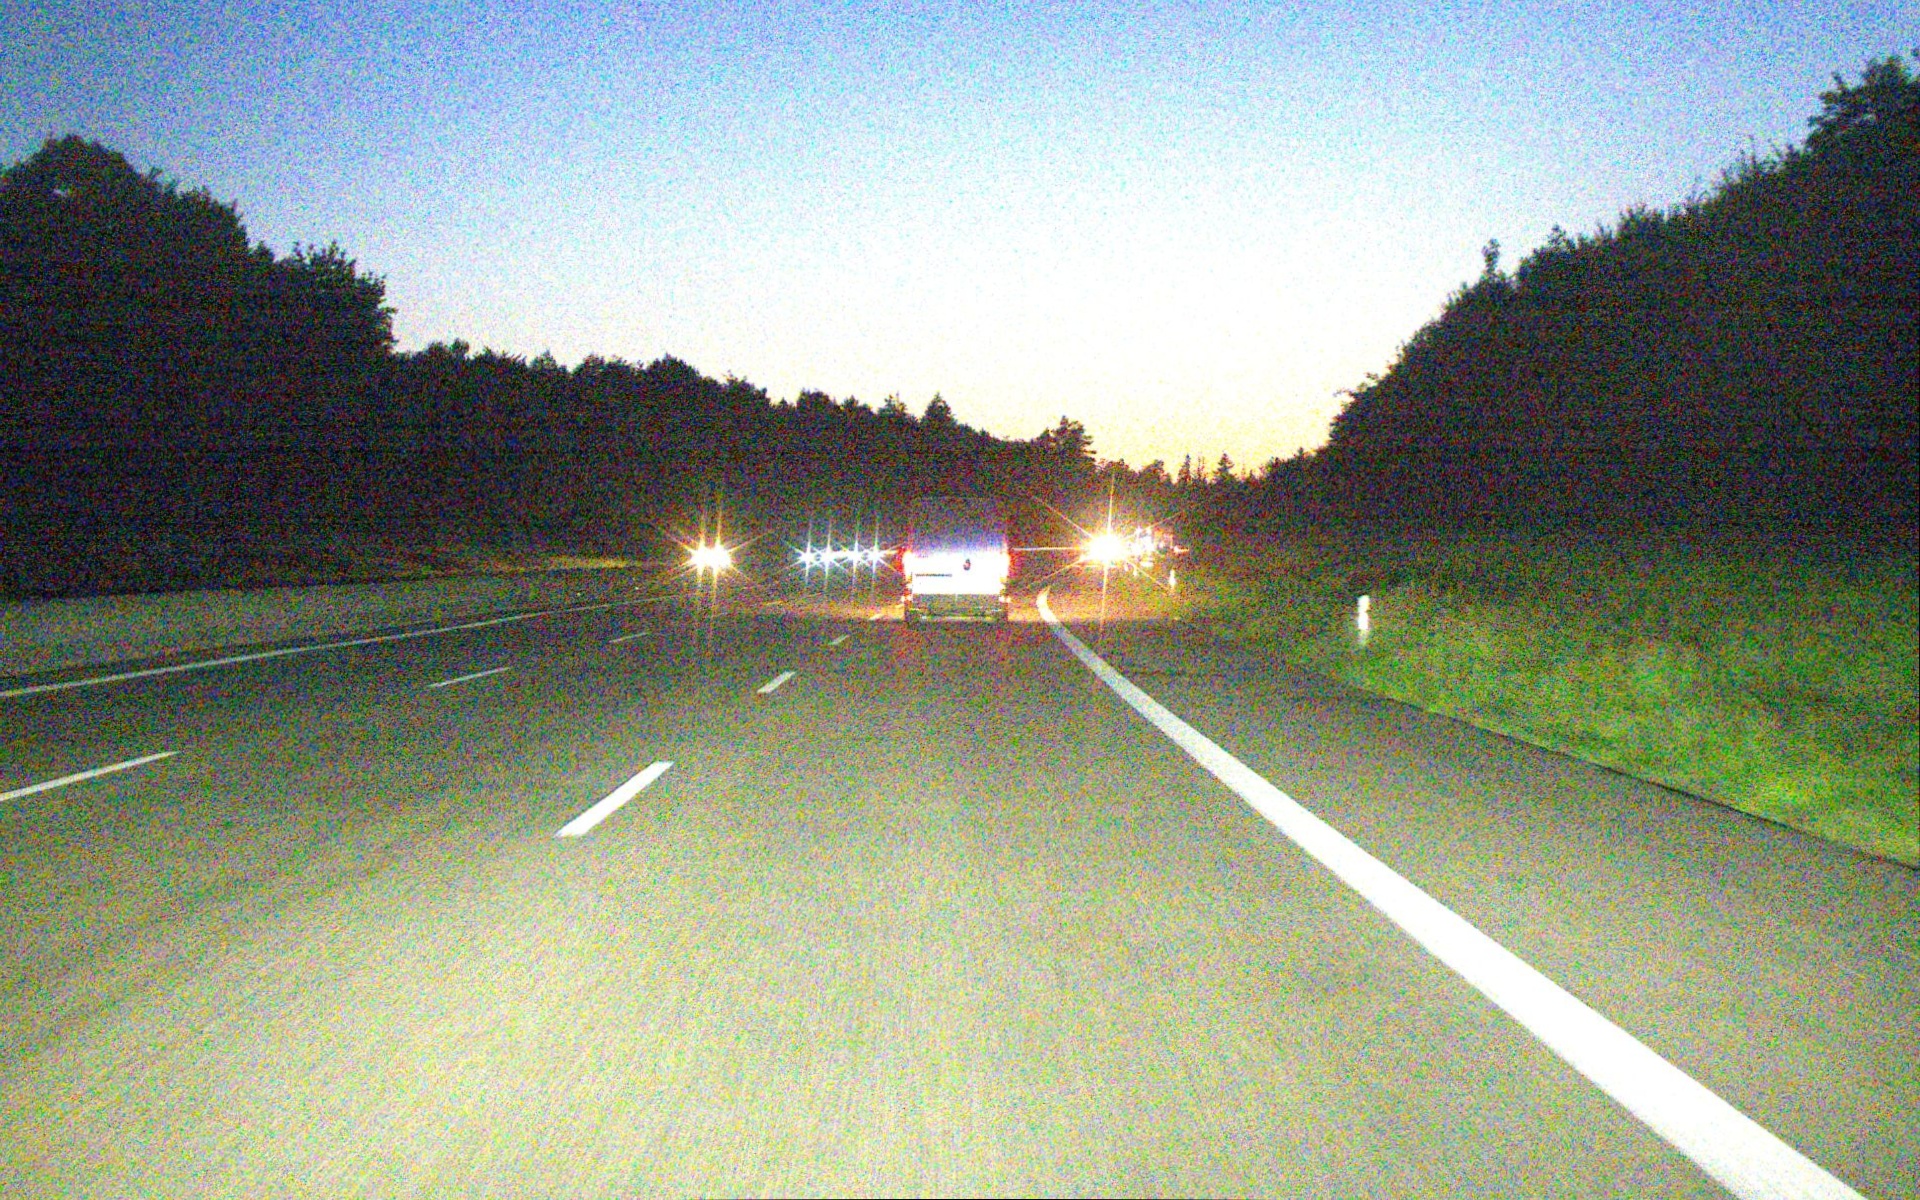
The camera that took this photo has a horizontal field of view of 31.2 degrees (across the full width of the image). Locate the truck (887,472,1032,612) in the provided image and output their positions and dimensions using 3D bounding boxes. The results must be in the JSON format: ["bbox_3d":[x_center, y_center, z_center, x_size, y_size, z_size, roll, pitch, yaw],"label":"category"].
[{"bbox_3d":[-0.093,-1.128,69.437,2.630,2.615,8.685,1,0,-2],"label":"truck"}]

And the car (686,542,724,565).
[{"bbox_3d":[-17.161,-3.123,231.544,1.994,1.503,4.401,1,0,3],"label":"car"}]
